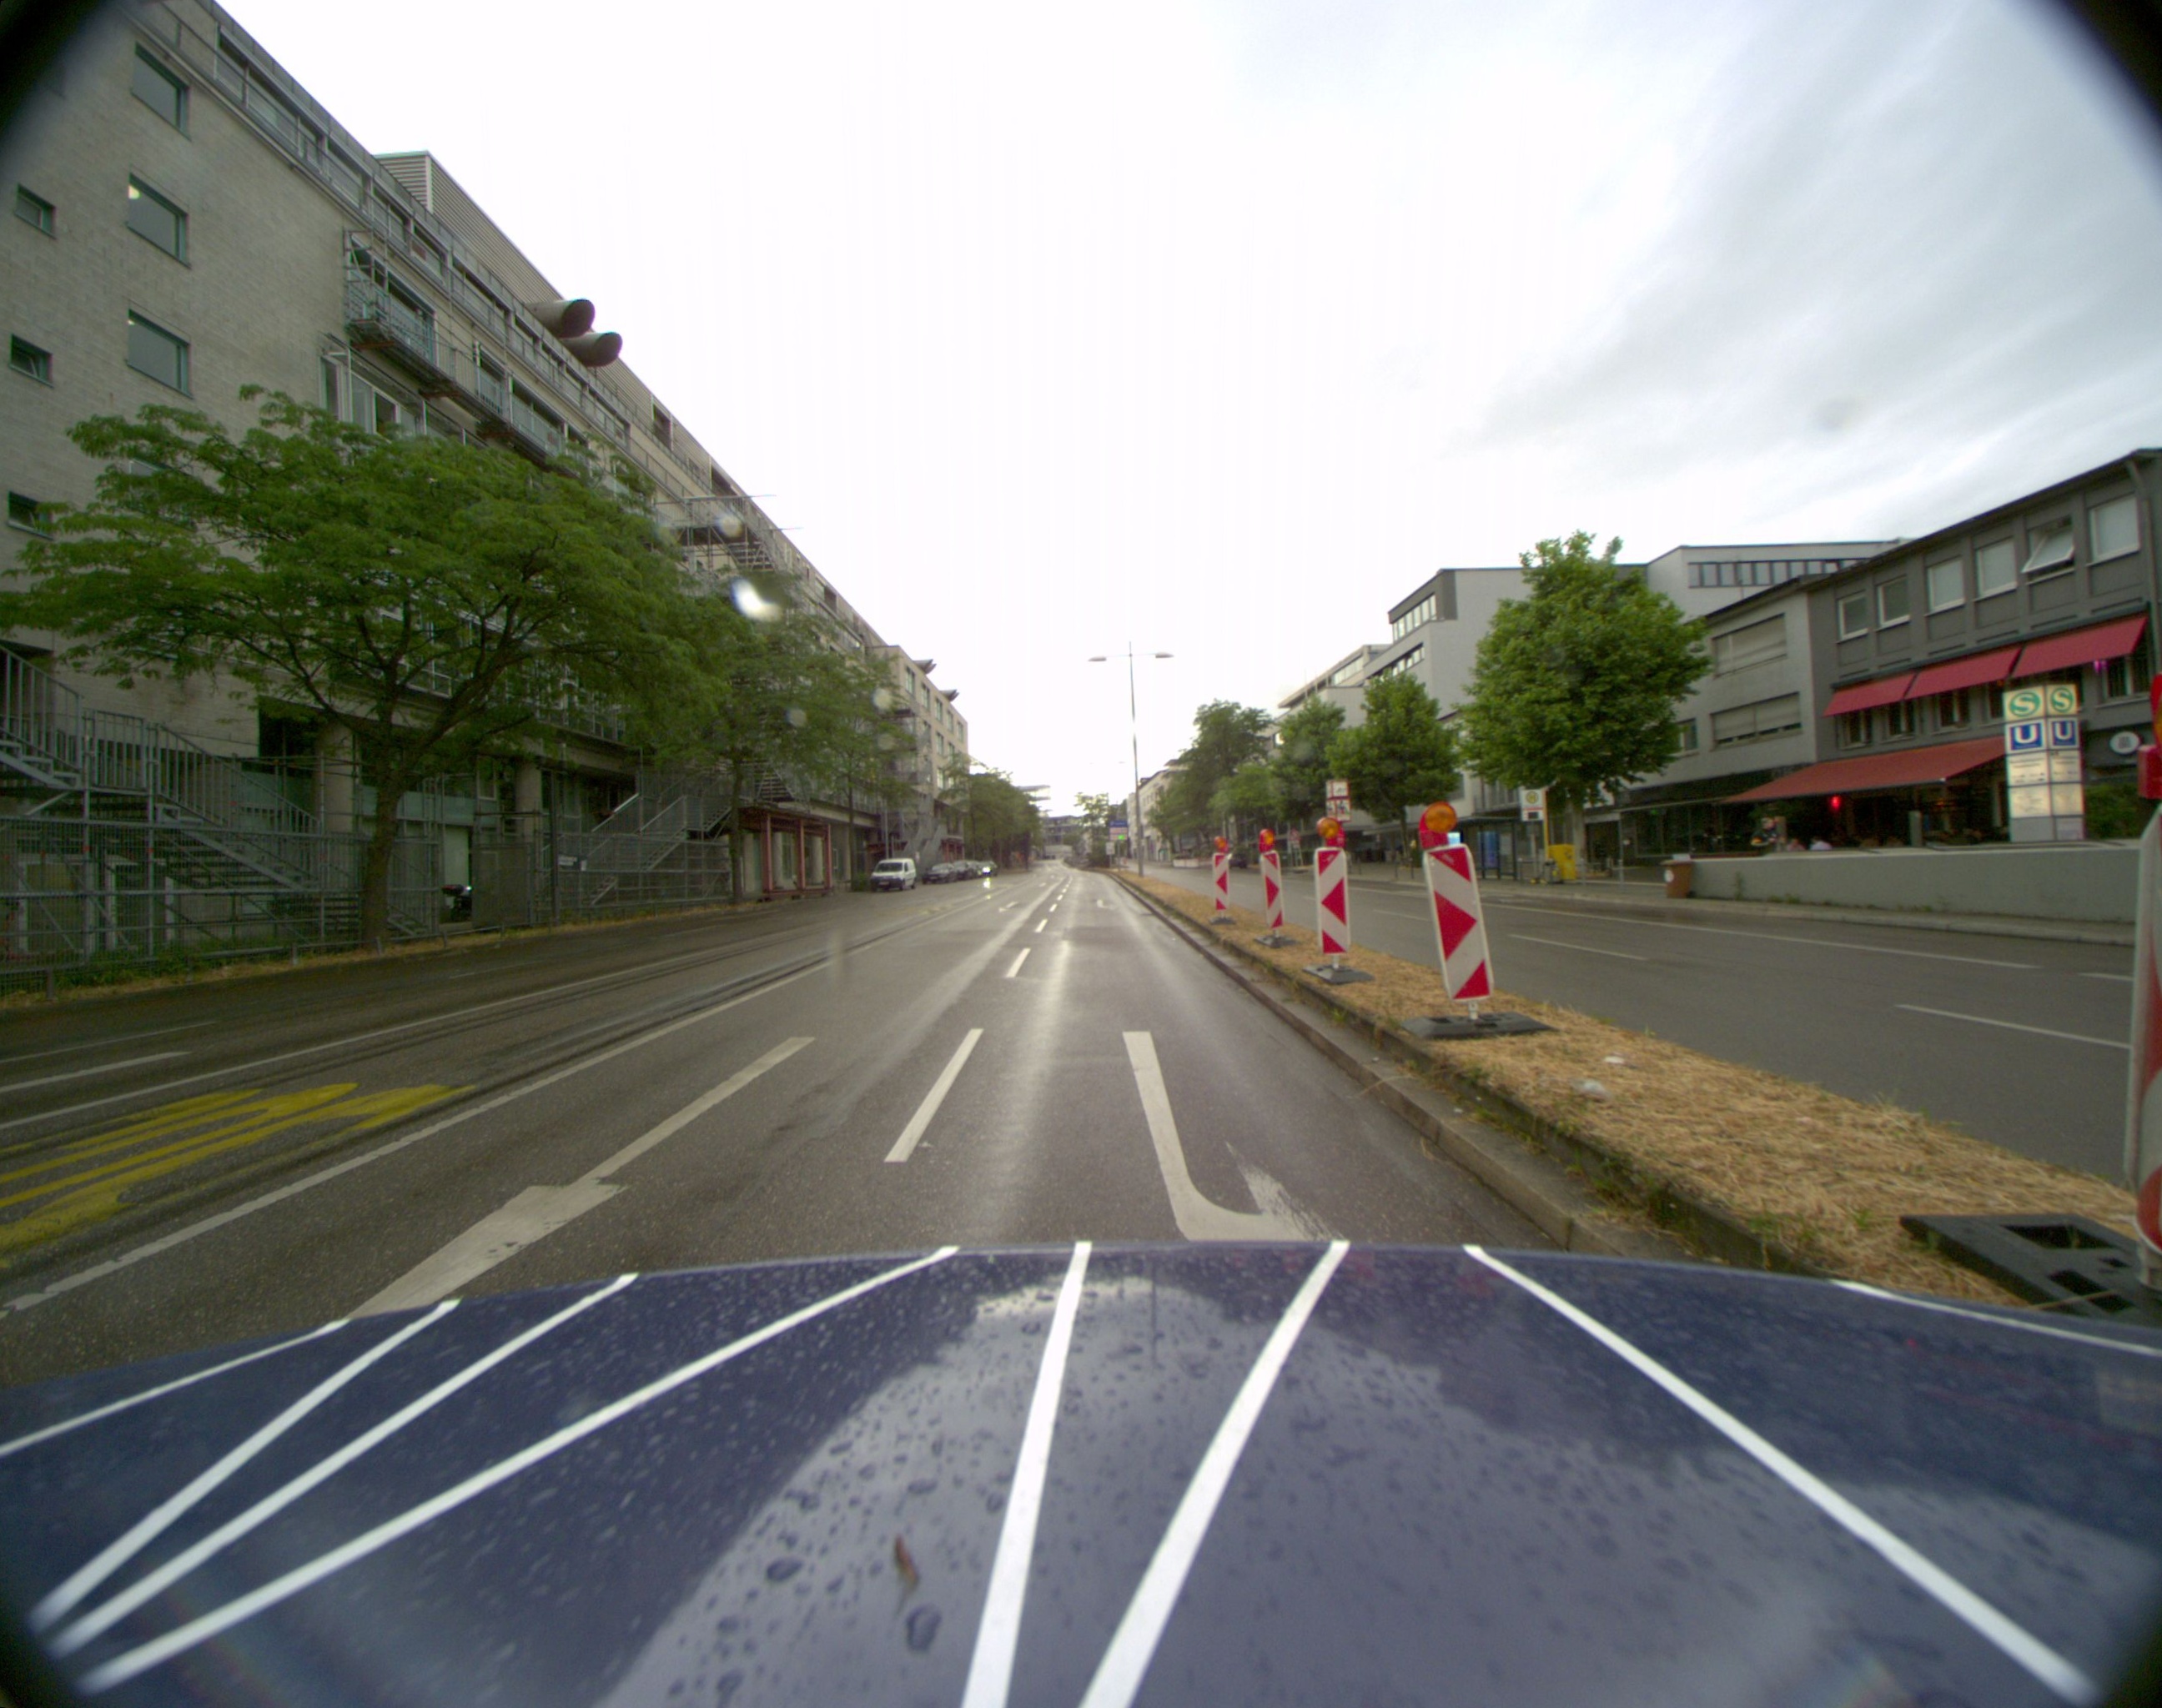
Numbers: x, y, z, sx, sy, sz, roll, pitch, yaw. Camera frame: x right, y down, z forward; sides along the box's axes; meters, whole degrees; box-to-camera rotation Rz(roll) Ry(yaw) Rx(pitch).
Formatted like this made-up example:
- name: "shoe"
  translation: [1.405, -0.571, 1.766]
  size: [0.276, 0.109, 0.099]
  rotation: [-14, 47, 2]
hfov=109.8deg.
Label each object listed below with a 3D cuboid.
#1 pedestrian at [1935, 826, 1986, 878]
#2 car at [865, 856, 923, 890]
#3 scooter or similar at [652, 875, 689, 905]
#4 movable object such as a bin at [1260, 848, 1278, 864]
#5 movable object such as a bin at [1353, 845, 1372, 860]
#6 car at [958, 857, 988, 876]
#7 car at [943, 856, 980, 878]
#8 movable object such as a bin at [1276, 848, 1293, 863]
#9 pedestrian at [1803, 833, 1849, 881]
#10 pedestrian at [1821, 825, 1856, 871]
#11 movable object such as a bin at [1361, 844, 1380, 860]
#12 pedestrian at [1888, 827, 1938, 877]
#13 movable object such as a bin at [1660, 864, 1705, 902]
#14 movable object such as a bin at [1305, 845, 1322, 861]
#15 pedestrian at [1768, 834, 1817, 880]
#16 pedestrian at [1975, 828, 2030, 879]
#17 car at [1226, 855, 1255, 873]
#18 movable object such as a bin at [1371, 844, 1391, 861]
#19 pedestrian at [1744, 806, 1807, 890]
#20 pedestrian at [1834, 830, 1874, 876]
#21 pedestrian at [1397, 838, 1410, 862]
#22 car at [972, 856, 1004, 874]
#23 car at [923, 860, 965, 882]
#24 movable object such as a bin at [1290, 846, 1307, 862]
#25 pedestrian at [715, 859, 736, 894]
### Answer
- name: "pedestrian"
  translation: [24.774, -0.052, 21.415]
  size: [0.635, 1.442, 0.691]
  rotation: [-2, 0, -6]
- name: "car"
  translation: [-10.452, 1.019, 42.796]
  size: [1.998, 1.739, 4.527]
  rotation: [-2, 0, 1]
- name: "scooter or similar"
  translation: [-17.181, 1.492, 31.825]
  size: [0.633, 1.155, 1.547]
  rotation: [-2, 0, 1]
- name: "movable object such as a bin"
  translation: [17.515, 0.183, 70.897]
  size: [1.362, 1.418, 1.088]
  rotation: [-2, 0, 1]
- name: "movable object such as a bin"
  translation: [26.646, -0.157, 71.934]
  size: [1.088, 1.427, 1.281]
  rotation: [-2, 0, -9]
- name: "car"
  translation: [-9.448, 1.058, 66.709]
  size: [1.866, 1.591, 4.593]
  rotation: [-2, 0, 1]
- name: "car"
  translation: [-9.592, 1.037, 61.335]
  size: [1.998, 1.636, 4.863]
  rotation: [-2, 0, 3]
- name: "movable object such as a bin"
  translation: [18.955, 0.147, 70.899]
  size: [1.281, 1.418, 1.088]
  rotation: [-2, 0, 1]
- name: "pedestrian"
  translation: [23.181, 0.090, 23.660]
  size: [0.691, 1.442, 0.707]
  rotation: [-2, 0, -4]
- name: "pedestrian"
  translation: [26.057, -0.202, 26.149]
  size: [0.598, 1.561, 0.604]
  rotation: [-2, 1, -9]
- name: "movable object such as a bin"
  translation: [26.834, -0.215, 70.396]
  size: [1.088, 1.427, 1.281]
  rotation: [-2, 0, -9]
- name: "pedestrian"
  translation: [24.948, -0.060, 22.791]
  size: [0.728, 1.442, 0.691]
  rotation: [-2, 0, -6]
- name: "movable object such as a bin"
  translation: [14.517, 0.682, 18.346]
  size: [0.533, 0.892, 0.682]
  rotation: [0, 0, -9]
- name: "movable object such as a bin"
  translation: [21.701, -0.087, 70.916]
  size: [1.281, 1.479, 1.088]
  rotation: [-2, 0, 1]
- name: "pedestrian"
  translation: [23.109, 0.104, 24.694]
  size: [0.691, 1.442, 0.914]
  rotation: [-2, 0, -4]
- name: "pedestrian"
  translation: [24.920, -0.002, 20.555]
  size: [0.635, 1.336, 0.691]
  rotation: [-2, 0, -6]
- name: "car"
  translation: [15.539, 0.970, 74.350]
  size: [1.783, 1.626, 4.024]
  rotation: [-2, -1, -2]
- name: "movable object such as a bin"
  translation: [27.240, -0.139, 69.017]
  size: [1.088, 1.427, 1.281]
  rotation: [-2, 0, -9]
- name: "pedestrian"
  translation: [15.920, -0.139, 17.438]
  size: [0.691, 1.874, 0.758]
  rotation: [-2, 0, -4]
- name: "pedestrian"
  translation: [24.906, -0.026, 24.480]
  size: [0.691, 1.442, 0.547]
  rotation: [-2, 0, -4]
- name: "pedestrian"
  translation: [23.968, -0.277, 56.469]
  size: [0.698, 1.753, 0.653]
  rotation: [-1, 1, 3]
- name: "car"
  translation: [-8.855, 1.054, 72.629]
  size: [1.998, 1.591, 5.291]
  rotation: [-2, 0, 4]
- name: "car"
  translation: [-9.781, 1.184, 54.542]
  size: [1.873, 1.429, 4.922]
  rotation: [-2, 0, 3]
- name: "movable object such as a bin"
  translation: [20.307, 0.027, 70.925]
  size: [1.281, 1.418, 1.088]
  rotation: [-2, 0, 1]
- name: "pedestrian"
  translation: [-18.103, 1.145, 38.664]
  size: [0.677, 1.732, 0.653]
  rotation: [-1, 1, 3]
